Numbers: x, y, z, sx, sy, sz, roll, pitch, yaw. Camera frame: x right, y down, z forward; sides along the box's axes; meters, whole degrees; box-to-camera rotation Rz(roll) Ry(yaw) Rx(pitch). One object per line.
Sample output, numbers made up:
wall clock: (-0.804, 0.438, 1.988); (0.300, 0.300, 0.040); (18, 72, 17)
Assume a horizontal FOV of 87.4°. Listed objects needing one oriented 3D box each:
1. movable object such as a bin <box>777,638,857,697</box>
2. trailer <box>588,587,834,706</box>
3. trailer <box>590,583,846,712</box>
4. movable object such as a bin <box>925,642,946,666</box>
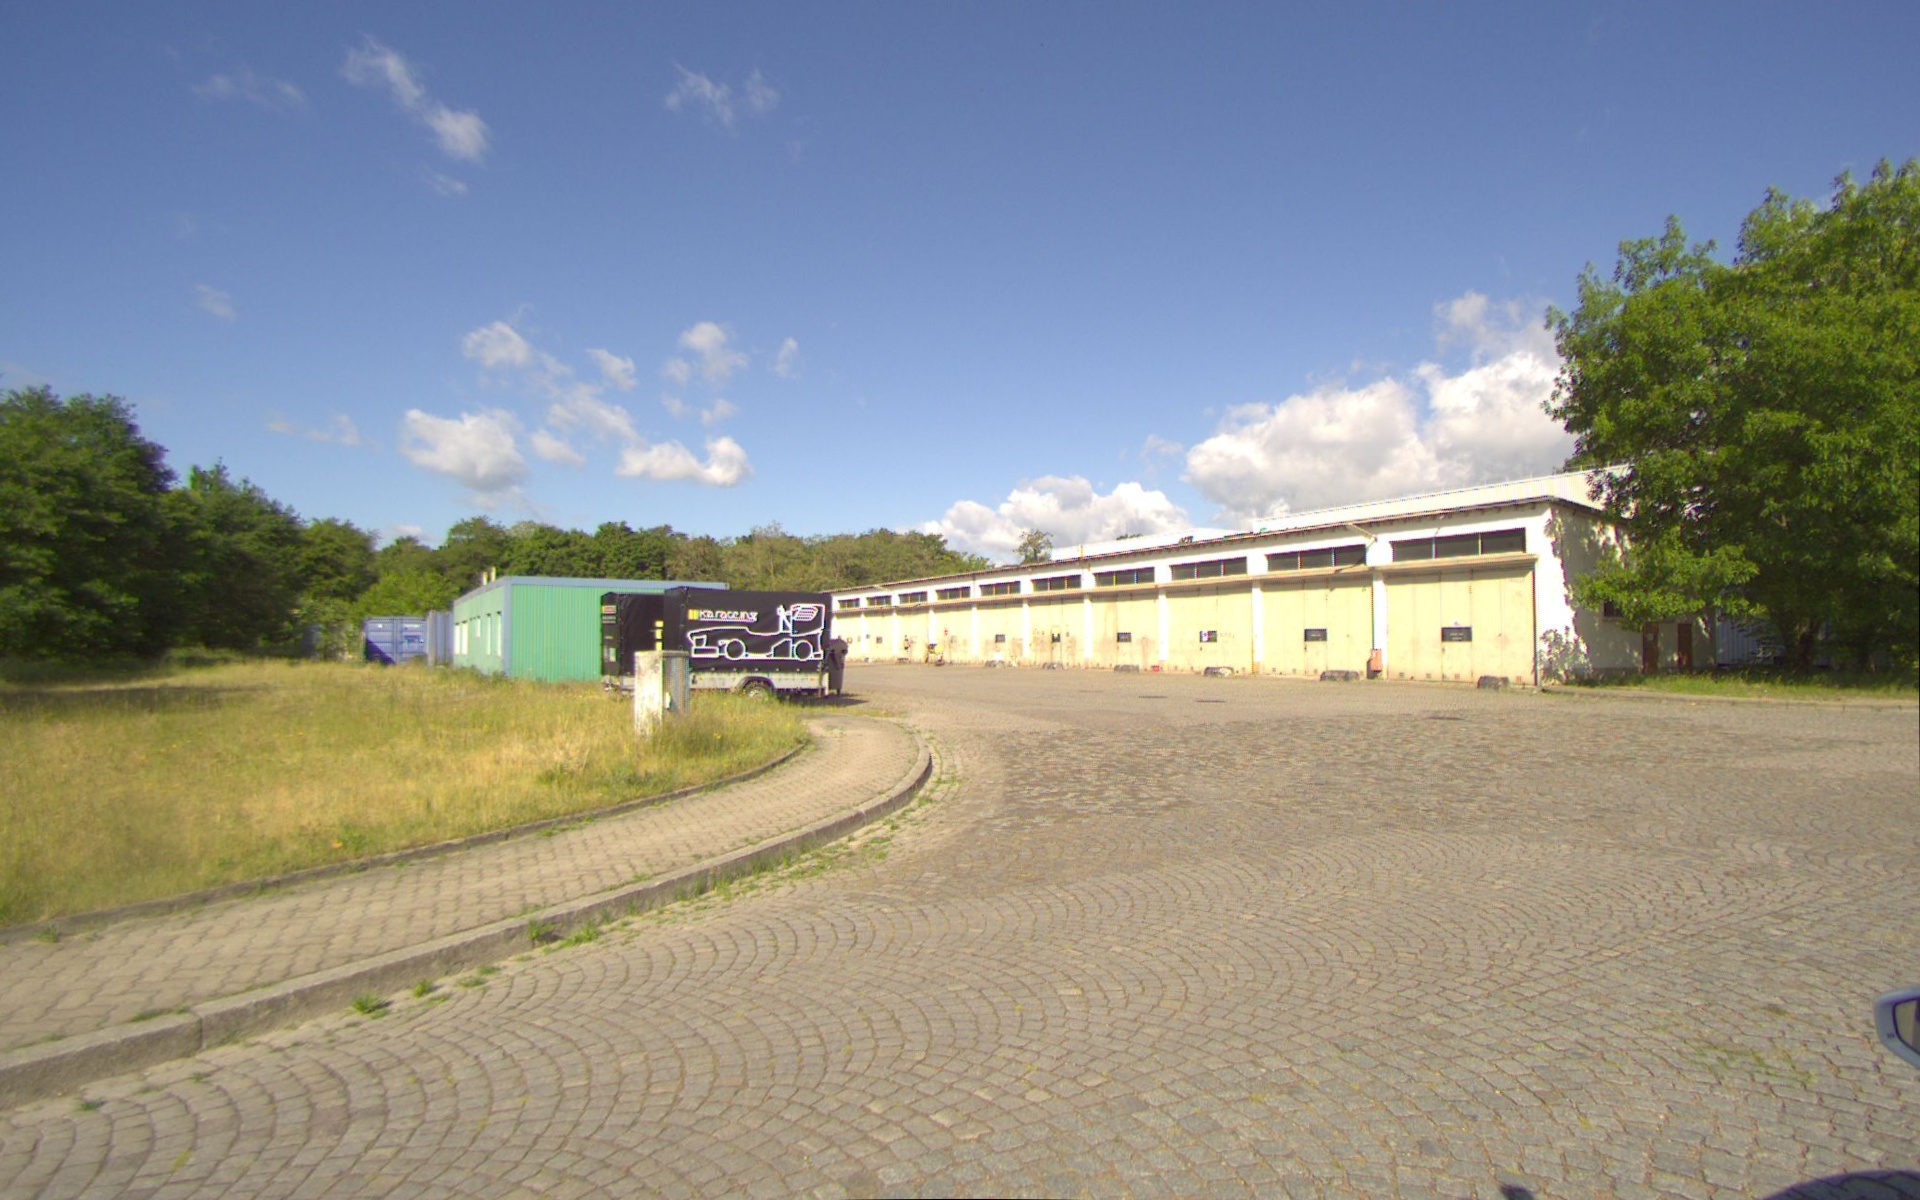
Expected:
movable object such as a bin: (-3.524, 1.652, 24.872); (1.505, 1.404, 1.387); (-1, -2, 17)
trailer: (-5.489, 1.029, 22.353); (4.921, 2.385, 2.078); (2, -3, -32)
trailer: (-4.829, 0.942, 20.135); (4.611, 2.328, 2.122); (1, -3, -28)
movable object such as a bin: (-1.502, 3.240, 60.706); (0.867, 1.419, 1.093); (1, -3, -29)
